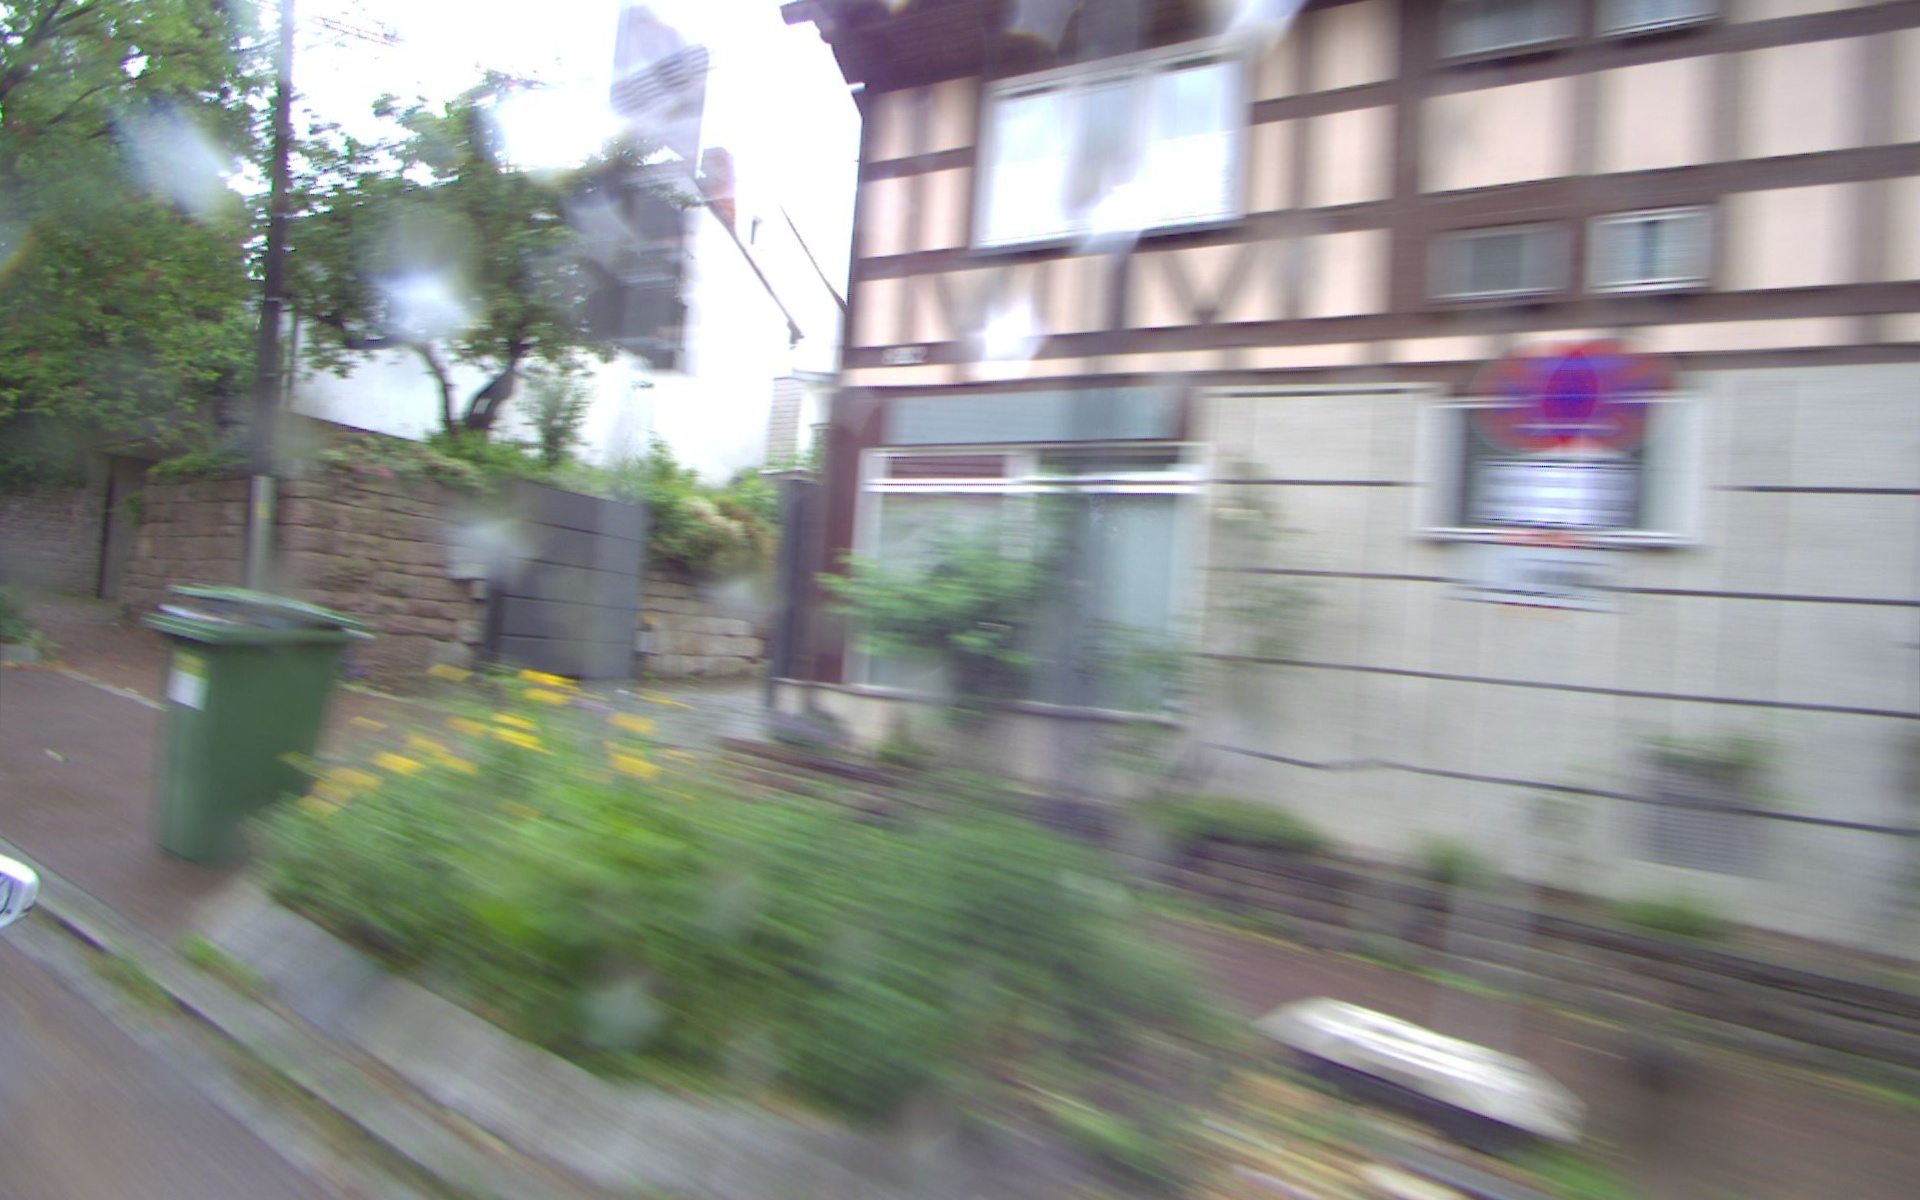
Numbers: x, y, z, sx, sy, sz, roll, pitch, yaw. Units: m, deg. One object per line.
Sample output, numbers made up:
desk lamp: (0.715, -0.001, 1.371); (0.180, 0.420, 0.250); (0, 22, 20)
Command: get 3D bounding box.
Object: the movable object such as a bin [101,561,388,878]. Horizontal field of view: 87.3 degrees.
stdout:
movable object such as a bin: (-3.211, 0.506, 4.538); (0.715, 1.227, 0.722); (7, -1, 32)
